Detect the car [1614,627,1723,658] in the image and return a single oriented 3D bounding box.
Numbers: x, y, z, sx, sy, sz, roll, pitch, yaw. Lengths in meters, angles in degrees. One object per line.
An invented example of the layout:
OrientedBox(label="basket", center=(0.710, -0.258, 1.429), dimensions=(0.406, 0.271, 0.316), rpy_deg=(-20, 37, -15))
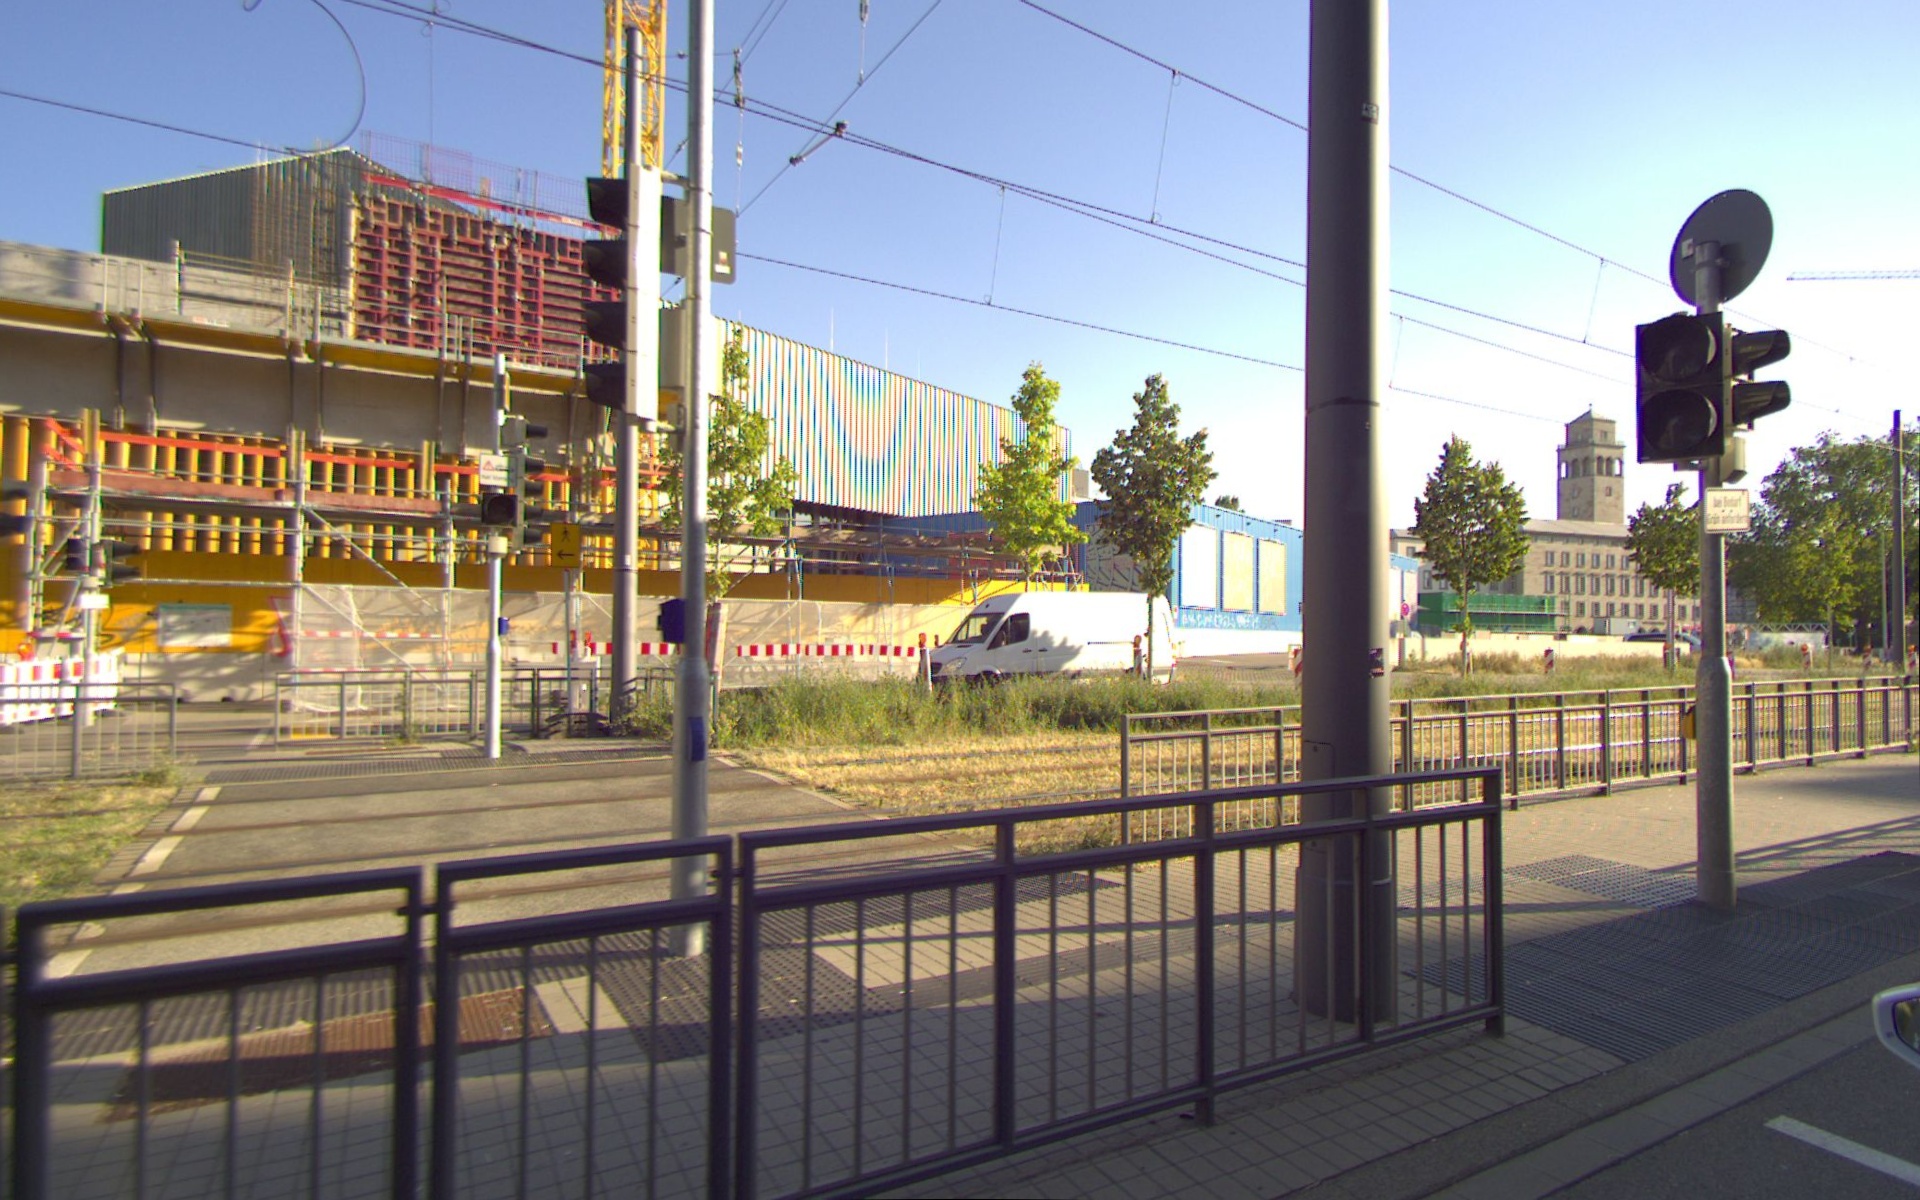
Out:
OrientedBox(label="car", center=(44.114, 2.623, 62.681), dimensions=(2.097, 1.739, 5.210), rpy_deg=(2, -1, -26))

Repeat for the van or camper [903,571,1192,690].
OrientedBox(label="van or camper", center=(2.259, 0.787, 24.329), dimensions=(7.122, 2.543, 2.210), rpy_deg=(2, -3, -33))
